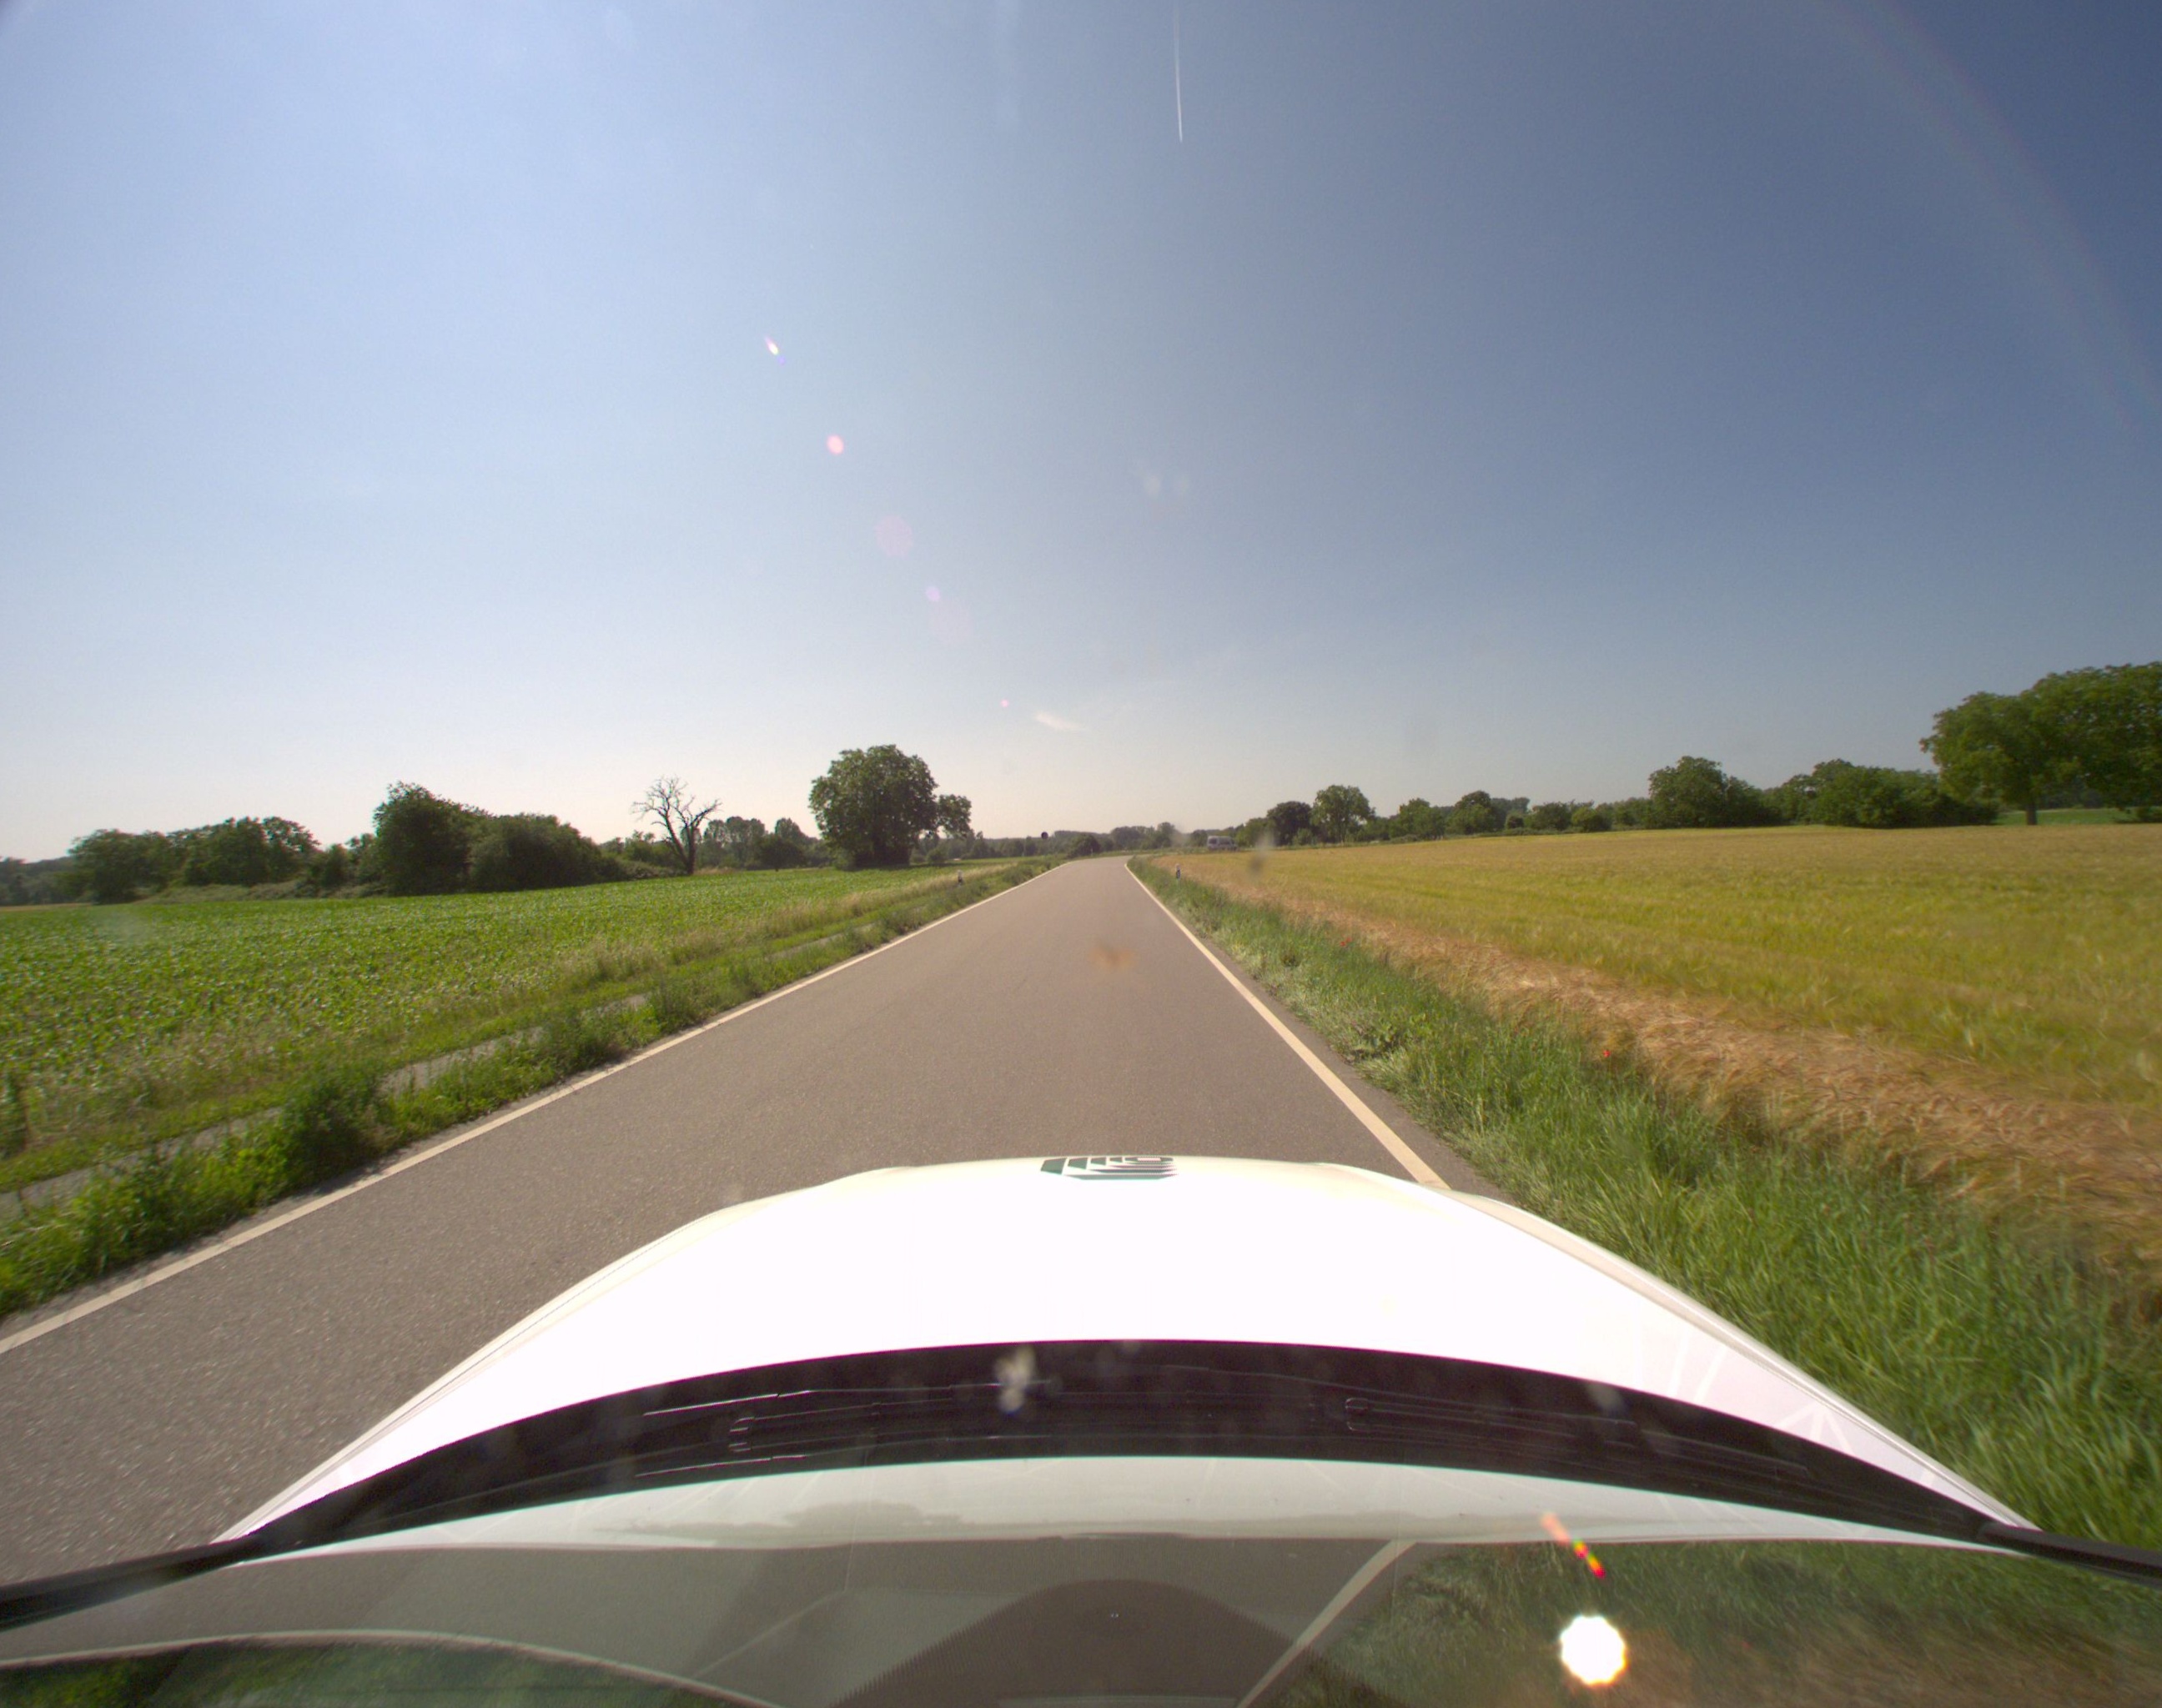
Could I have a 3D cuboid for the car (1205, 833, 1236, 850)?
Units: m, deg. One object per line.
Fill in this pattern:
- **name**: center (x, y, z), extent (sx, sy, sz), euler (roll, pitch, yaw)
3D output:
- **car**: center (21.551, -1.969, 125.261), extent (2.083, 2.367, 5.723), euler (-3, 0, 39)
